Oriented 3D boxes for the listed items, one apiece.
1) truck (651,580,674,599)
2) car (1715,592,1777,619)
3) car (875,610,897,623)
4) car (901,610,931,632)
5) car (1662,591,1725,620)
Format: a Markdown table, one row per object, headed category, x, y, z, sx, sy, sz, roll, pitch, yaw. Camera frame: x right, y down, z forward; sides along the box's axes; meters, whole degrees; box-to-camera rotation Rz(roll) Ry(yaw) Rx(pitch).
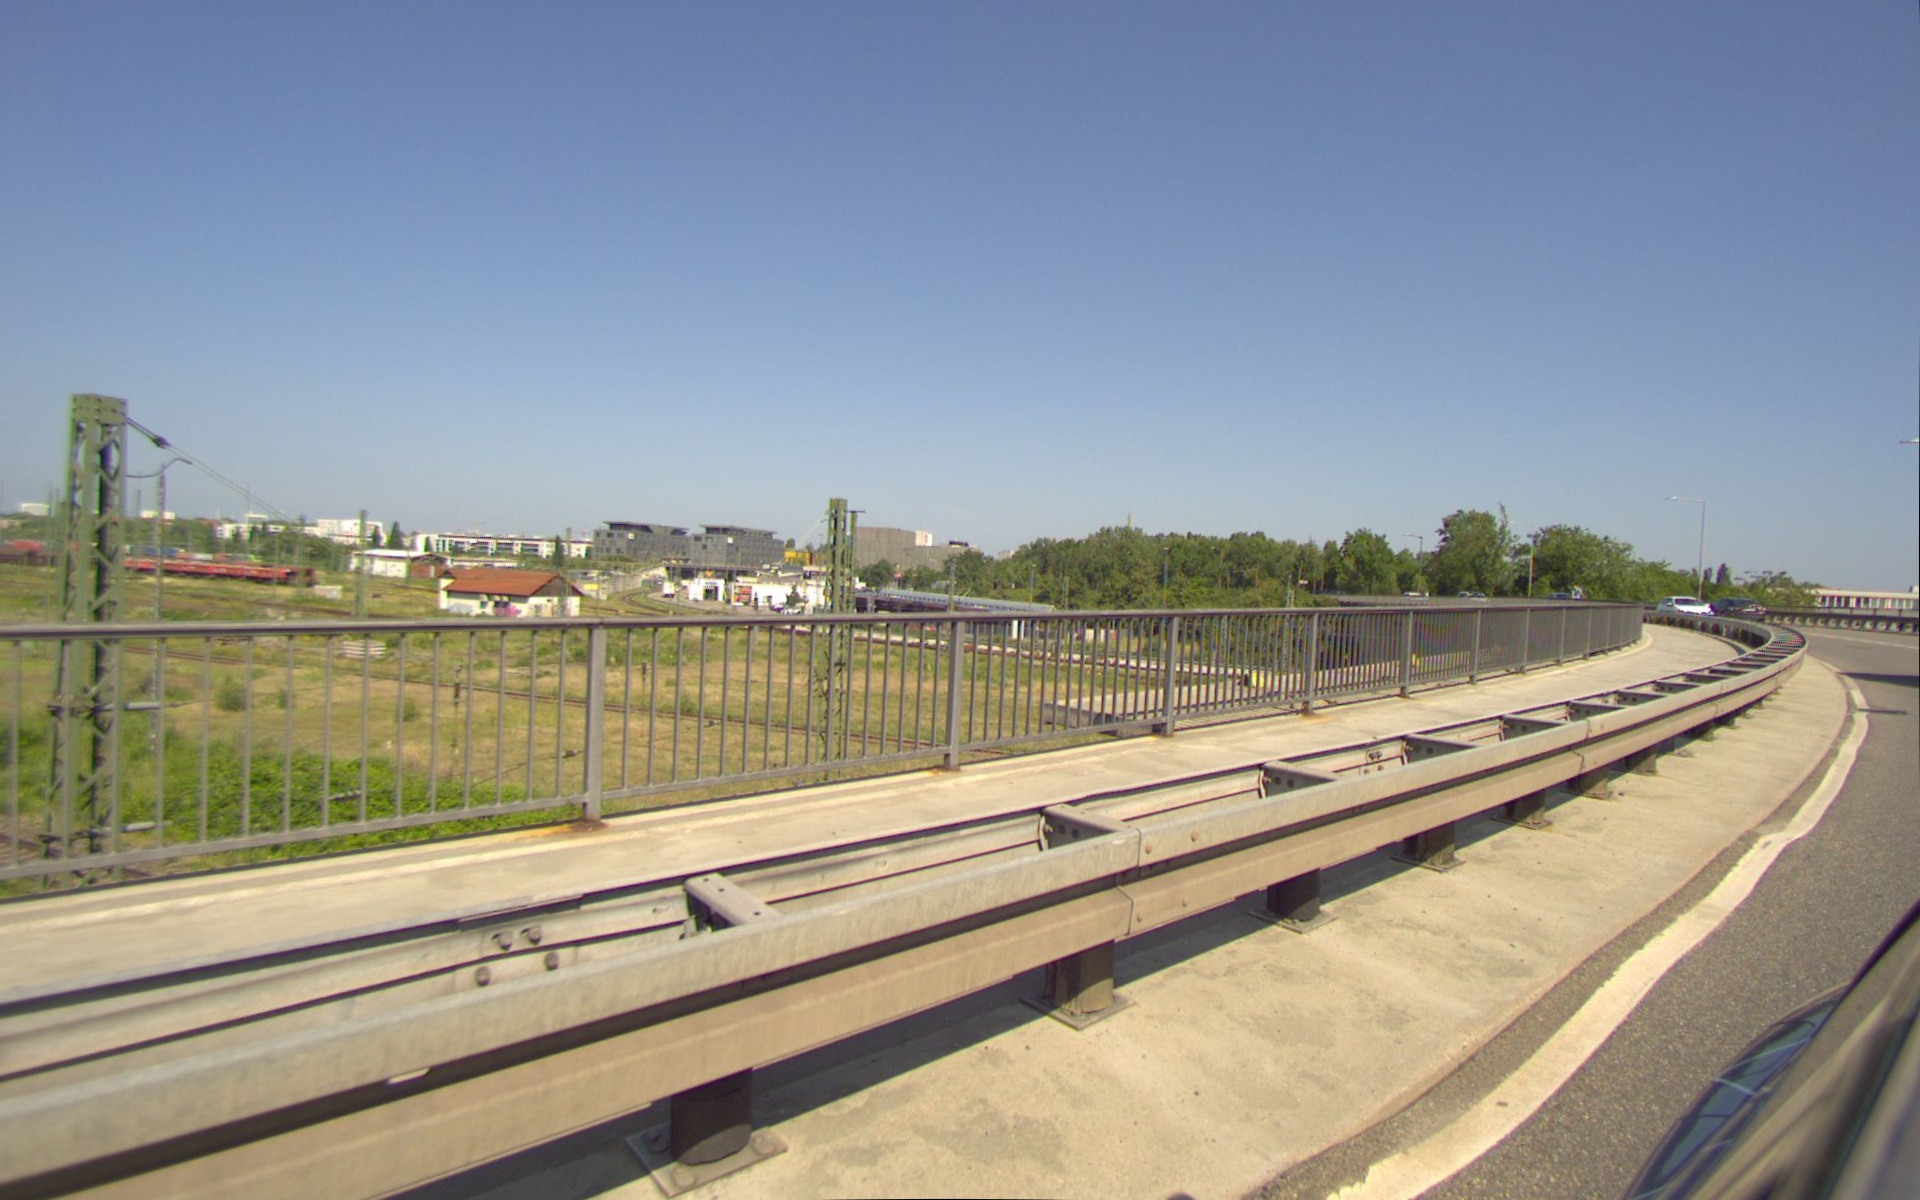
| category | x | y | z | sx | sy | sz | roll | pitch | yaw |
| --- | --- | --- | --- | --- | --- | --- | --- | --- | --- |
| truck | -71.310 | -2.572 | 242.702 | 3.742 | 4.080 | 13.299 | 4 | 0 | -22 |
| car | 44.383 | 0.292 | 57.266 | 1.806 | 1.448 | 4.819 | 1 | 0 | 26 |
| car | -11.528 | 2.539 | 157.275 | 1.960 | 1.893 | 4.006 | -4 | 2 | -26 |
| car | -6.331 | 2.955 | 144.934 | 2.262 | 2.694 | 5.389 | -4 | 5 | -26 |
| car | 40.037 | 0.268 | 55.322 | 1.826 | 1.507 | 4.120 | 1 | 0 | 22 |
